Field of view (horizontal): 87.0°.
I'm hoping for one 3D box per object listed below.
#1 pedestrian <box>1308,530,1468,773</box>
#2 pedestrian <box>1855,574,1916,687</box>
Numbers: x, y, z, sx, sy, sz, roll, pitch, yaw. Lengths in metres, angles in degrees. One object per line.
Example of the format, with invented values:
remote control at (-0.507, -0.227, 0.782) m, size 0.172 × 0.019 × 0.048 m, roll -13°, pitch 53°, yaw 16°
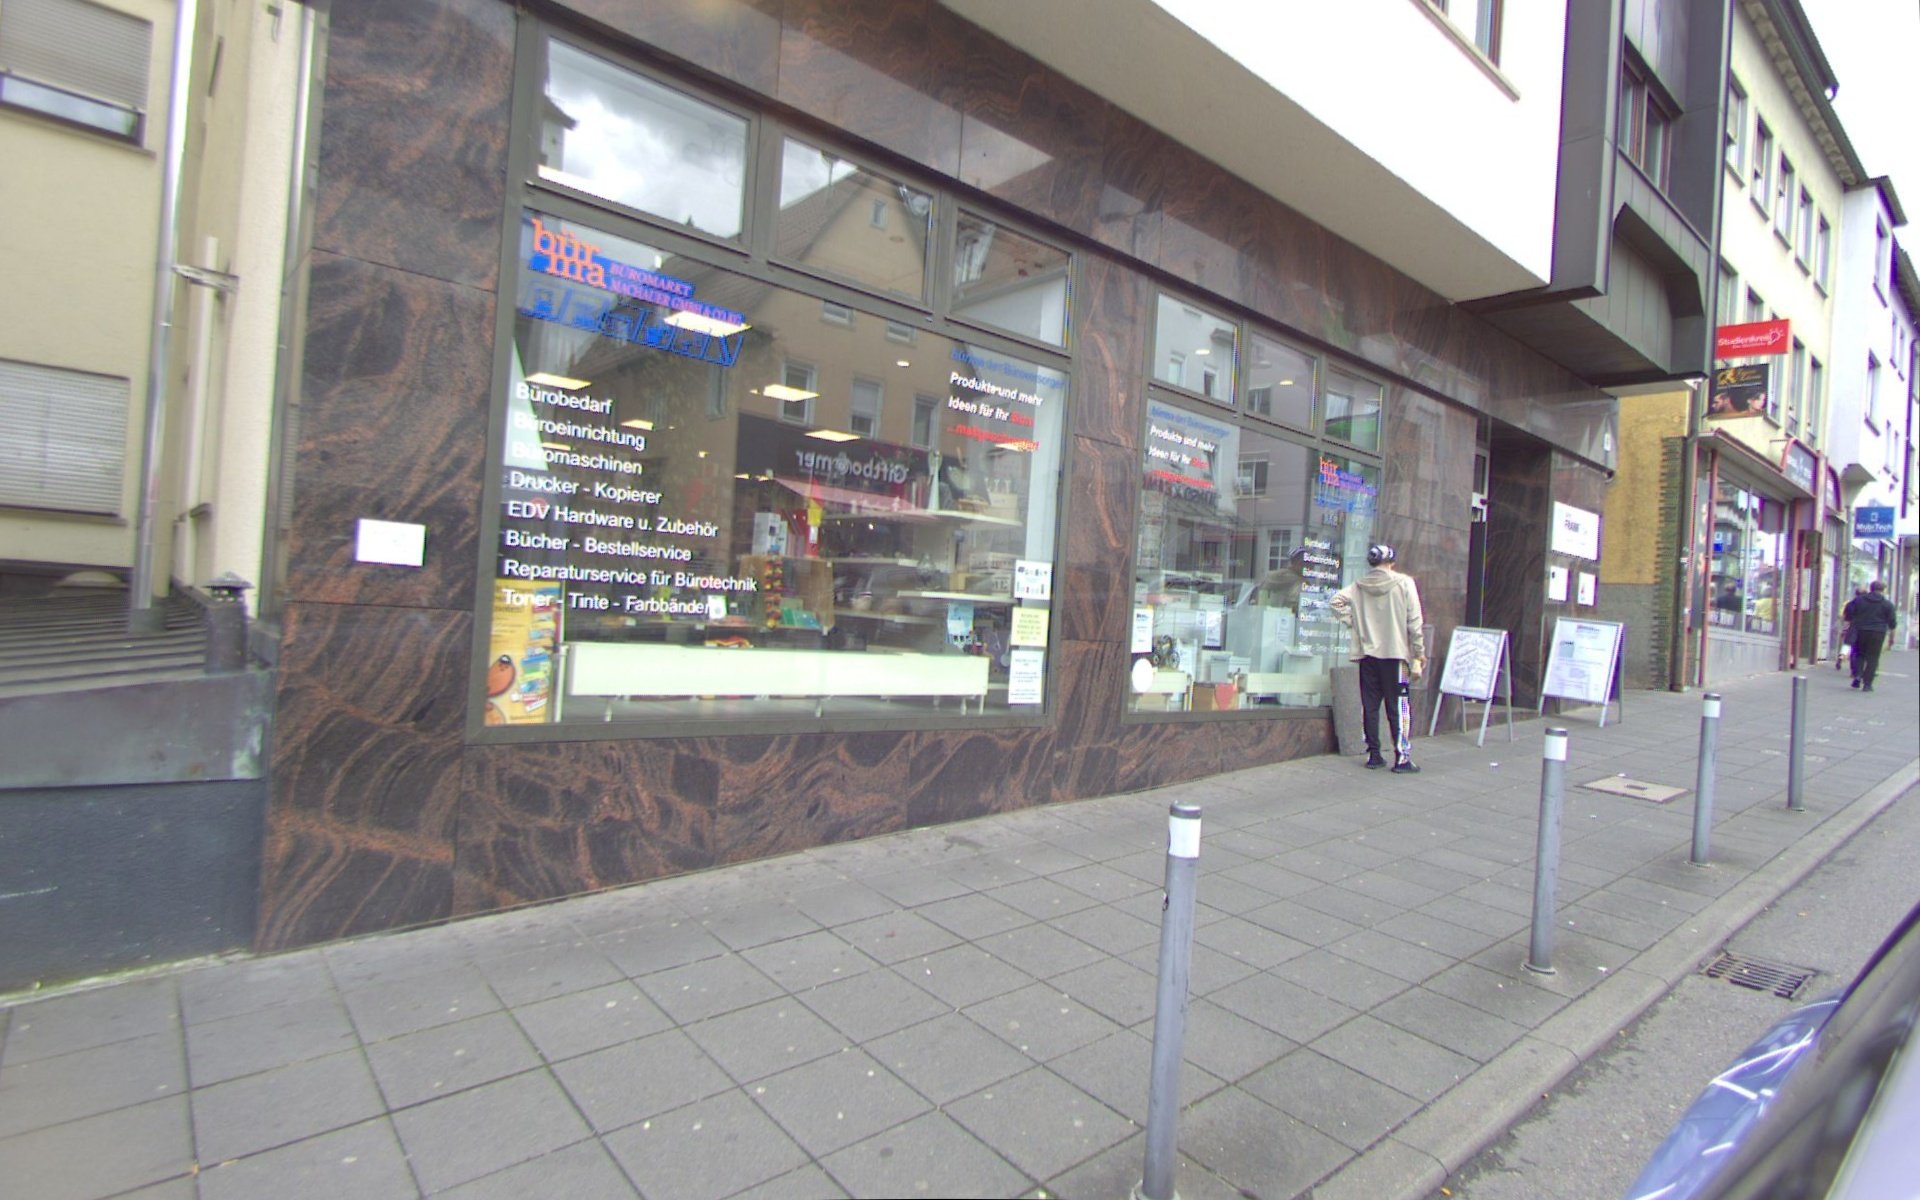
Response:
pedestrian at (3.237, 0.348, 7.668) m, size 0.767 × 1.693 × 0.759 m, roll 0°, pitch 4°, yaw -43°
pedestrian at (14.619, 0.466, 15.983) m, size 0.637 × 1.719 × 0.697 m, roll 3°, pitch 2°, yaw 44°
